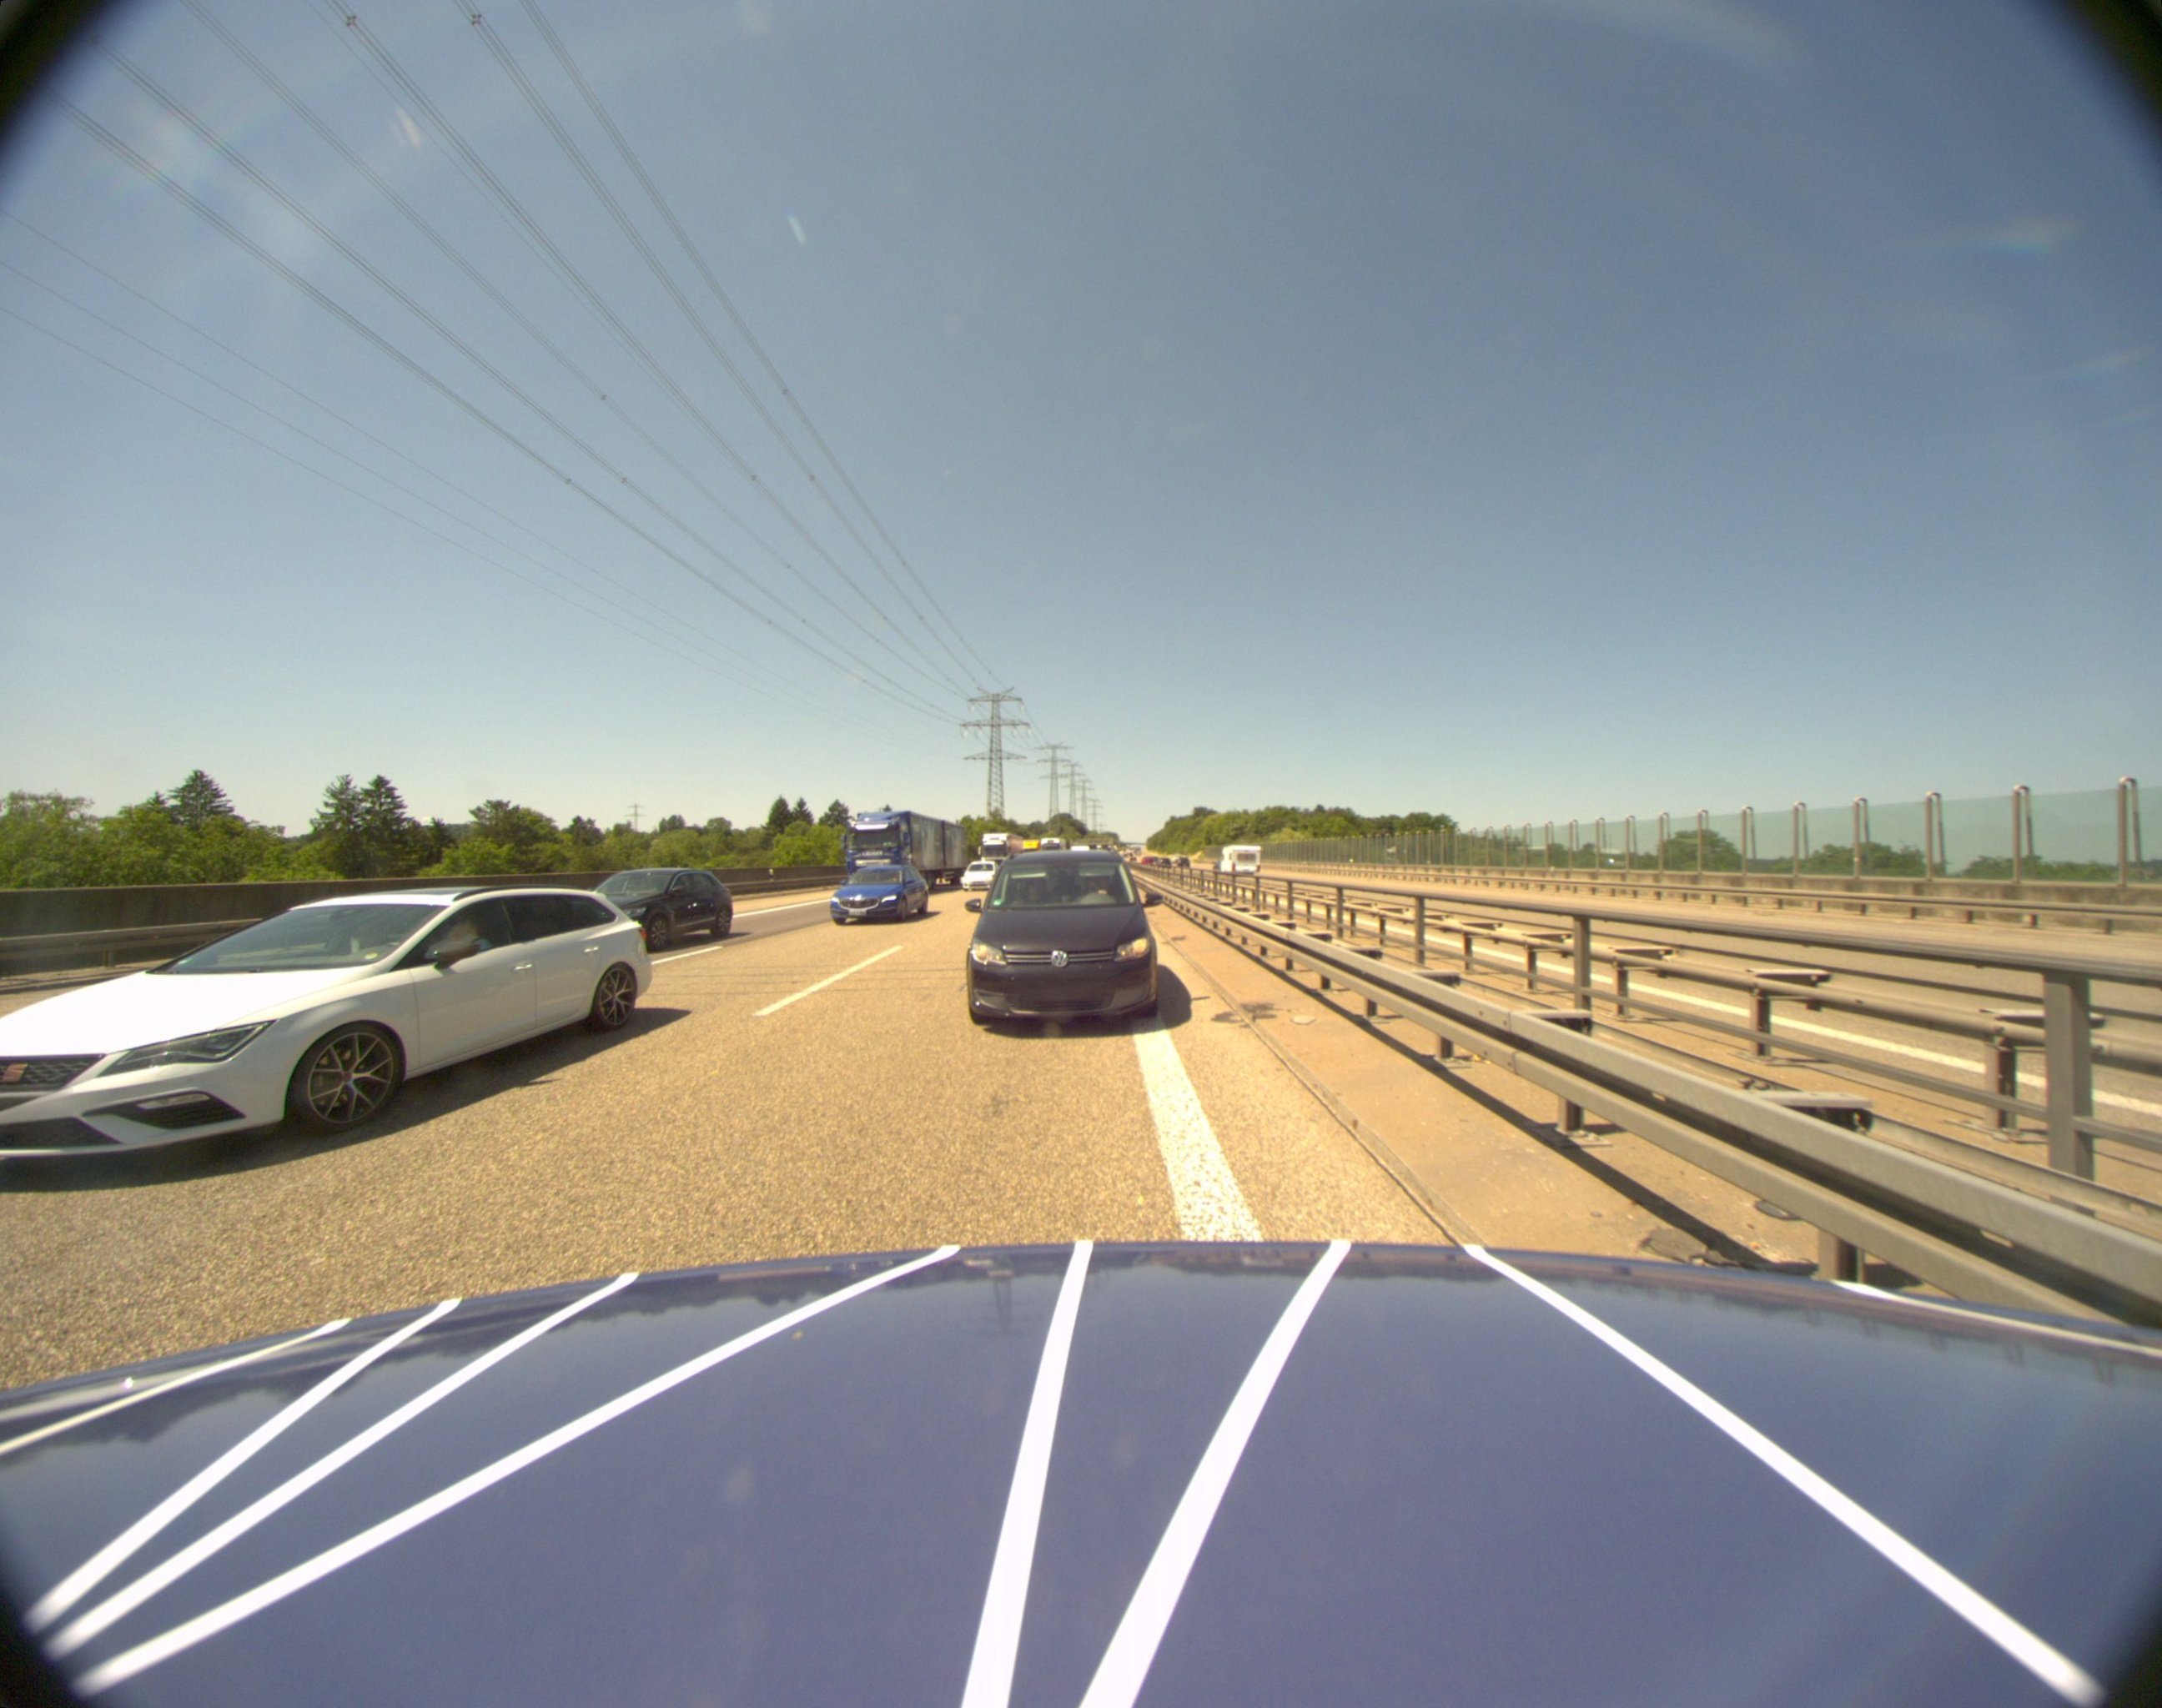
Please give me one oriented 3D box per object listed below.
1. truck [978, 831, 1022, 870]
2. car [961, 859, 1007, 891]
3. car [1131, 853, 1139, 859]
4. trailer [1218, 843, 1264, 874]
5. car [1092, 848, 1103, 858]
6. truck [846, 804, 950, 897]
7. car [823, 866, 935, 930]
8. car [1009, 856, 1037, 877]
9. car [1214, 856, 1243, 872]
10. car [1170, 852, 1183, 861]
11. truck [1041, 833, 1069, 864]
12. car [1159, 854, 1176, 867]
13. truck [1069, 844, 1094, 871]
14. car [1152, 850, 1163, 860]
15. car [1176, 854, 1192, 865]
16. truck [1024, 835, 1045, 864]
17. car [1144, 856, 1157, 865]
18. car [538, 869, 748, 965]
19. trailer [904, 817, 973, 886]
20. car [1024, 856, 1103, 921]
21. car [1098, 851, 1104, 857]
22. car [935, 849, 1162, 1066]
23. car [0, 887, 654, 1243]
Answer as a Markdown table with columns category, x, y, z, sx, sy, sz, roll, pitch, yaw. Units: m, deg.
| category | x | y | z | sx | sy | sz | roll | pitch | yaw |
| --- | --- | --- | --- | --- | --- | --- | --- | --- | --- |
| truck | -7.980 | -0.403 | 76.666 | 2.985 | 3.538 | 10.967 | -2 | 0 | 1 |
| car | -4.940 | 1.030 | 39.050 | 1.762 | 1.495 | 4.094 | -1 | 0 | 1 |
| car | 13.303 | 0.494 | 187.863 | 1.601 | 1.310 | 4.341 | 1 | 0 | 0 |
| trailer | 13.432 | 0.358 | 64.351 | 2.499 | 2.534 | 6.774 | 1 | 0 | 1 |
| car | 3.228 | -0.230 | 150.584 | 1.998 | 2.002 | 4.000 | -2 | 1 | 1 |
| truck | -9.069 | -0.183 | 39.116 | 2.529 | 4.043 | 10.447 | -2 | 0 | 1 |
| car | -5.304 | 1.101 | 20.528 | 1.739 | 1.437 | 4.211 | -1 | 0 | 2 |
| car | -4.342 | 0.916 | 56.983 | 1.763 | 1.495 | 4.094 | -1 | 0 | 0 |
| car | 13.540 | 0.908 | 70.115 | 1.780 | 1.399 | 4.682 | 1 | 0 | 1 |
| car | 18.983 | 0.486 | 151.499 | 1.998 | 1.874 | 5.256 | 1 | 0 | 0 |
| truck | -3.341 | -0.711 | 99.979 | 2.980 | 3.832 | 10.561 | -2 | 1 | 1 |
| car | 10.333 | 0.780 | 91.224 | 1.672 | 1.439 | 4.000 | 2 | 0 | 2 |
| truck | 0.057 | 0.337 | 74.694 | 2.284 | 2.479 | 5.861 | -2 | 0 | 1 |
| car | 15.812 | 0.275 | 156.870 | 1.998 | 2.002 | 4.000 | -1 | 0 | 1 |
| car | 14.378 | 0.719 | 106.114 | 1.734 | 1.483 | 4.419 | 1 | 0 | 0 |
| truck | -6.978 | -0.692 | 115.172 | 2.346 | 4.058 | 8.278 | -2 | 1 | 1 |
| car | 10.693 | 0.964 | 117.223 | 1.601 | 1.342 | 4.179 | 1 | 0 | 1 |
| car | -8.527 | 1.134 | 15.283 | 1.740 | 1.518 | 4.106 | -2 | 0 | 1 |
| trailer | -8.935 | -0.182 | 48.605 | 2.572 | 3.922 | 8.479 | -2 | 0 | 1 |
| car | -0.389 | 0.831 | 20.331 | 1.845 | 1.495 | 4.377 | -1 | 0 | 1 |
| car | 6.405 | -0.078 | 238.534 | 1.805 | 2.002 | 4.000 | -1 | 0 | 1 |
| car | -0.245 | 0.810 | 8.009 | 1.740 | 1.652 | 3.999 | -2 | 1 | 0 |
| car | -5.269 | 1.122 | 5.672 | 1.843 | 1.481 | 4.071 | -2 | 0 | -1 |
